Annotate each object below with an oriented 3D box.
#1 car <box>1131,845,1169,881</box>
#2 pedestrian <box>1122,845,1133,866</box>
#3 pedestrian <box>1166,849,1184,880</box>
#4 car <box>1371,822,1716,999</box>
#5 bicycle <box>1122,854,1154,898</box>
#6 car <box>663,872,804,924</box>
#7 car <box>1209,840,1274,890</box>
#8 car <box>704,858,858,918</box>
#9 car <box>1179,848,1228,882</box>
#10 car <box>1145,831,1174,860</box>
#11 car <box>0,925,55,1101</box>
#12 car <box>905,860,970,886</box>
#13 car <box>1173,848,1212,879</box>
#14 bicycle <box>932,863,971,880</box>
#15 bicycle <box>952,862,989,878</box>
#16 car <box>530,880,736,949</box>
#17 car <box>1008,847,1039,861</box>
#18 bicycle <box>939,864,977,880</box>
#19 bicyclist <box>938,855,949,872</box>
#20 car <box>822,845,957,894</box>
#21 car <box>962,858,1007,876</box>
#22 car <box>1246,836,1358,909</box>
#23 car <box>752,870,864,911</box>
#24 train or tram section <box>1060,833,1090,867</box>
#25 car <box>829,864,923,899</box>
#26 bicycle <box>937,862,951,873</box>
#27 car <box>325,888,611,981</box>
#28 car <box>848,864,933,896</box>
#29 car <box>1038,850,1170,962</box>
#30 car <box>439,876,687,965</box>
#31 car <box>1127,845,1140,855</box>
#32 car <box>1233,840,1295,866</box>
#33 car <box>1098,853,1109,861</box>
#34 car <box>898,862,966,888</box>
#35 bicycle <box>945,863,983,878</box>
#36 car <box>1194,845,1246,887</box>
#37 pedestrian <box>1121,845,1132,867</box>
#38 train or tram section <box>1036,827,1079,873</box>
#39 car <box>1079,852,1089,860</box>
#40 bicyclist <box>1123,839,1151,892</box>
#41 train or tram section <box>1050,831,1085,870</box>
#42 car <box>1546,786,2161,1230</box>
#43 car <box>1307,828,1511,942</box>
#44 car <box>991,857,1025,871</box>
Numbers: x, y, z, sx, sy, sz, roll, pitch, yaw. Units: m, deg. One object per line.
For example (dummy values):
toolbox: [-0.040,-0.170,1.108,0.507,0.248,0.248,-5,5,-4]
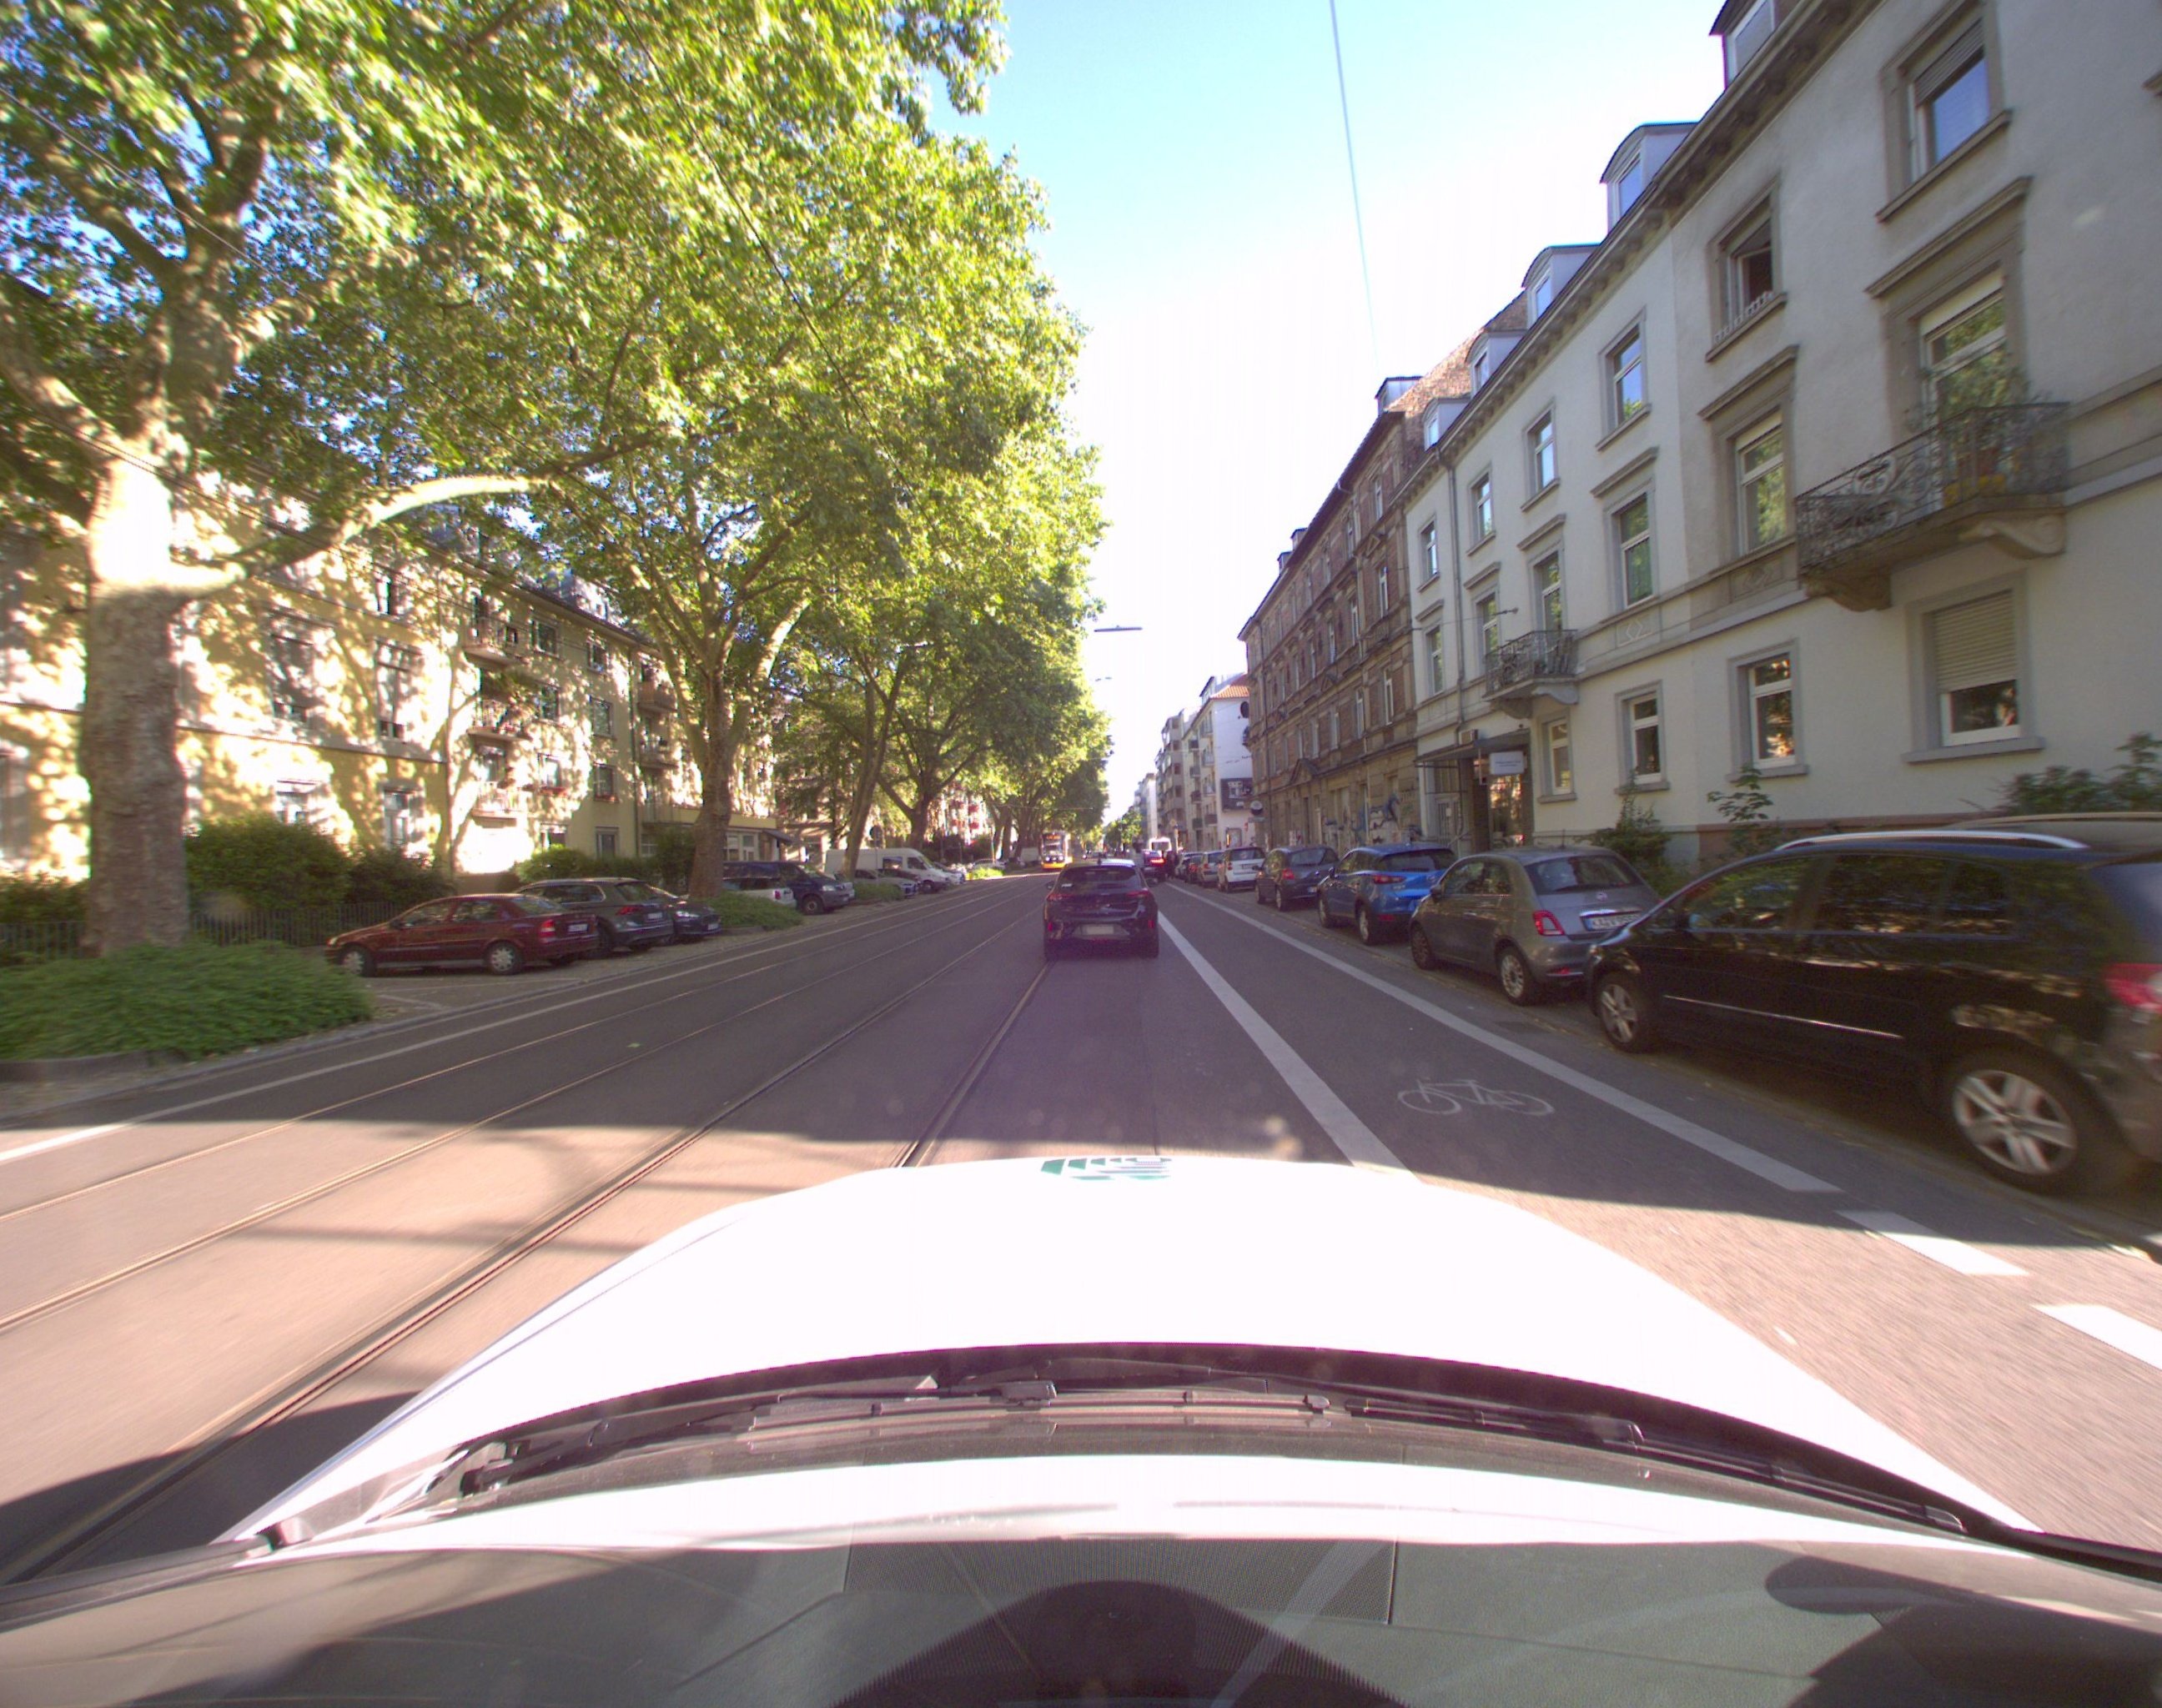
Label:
car: [3.580,0.451,42.781,1.802,1.742,3.936,-1,0,3]
pedestrian: [3.569,0.146,62.050,0.674,1.567,0.771,-3,0,10]
pedestrian: [4.894,0.521,42.421,0.862,1.567,0.769,-3,0,6]
car: [4.994,0.528,9.492,1.793,1.456,3.768,-6,0,1]
bicycle: [1.922,0.712,27.767,0.857,1.407,2.524,-3,0,1]
car: [-11.059,1.381,26.100,3.721,1.498,1.747,-1,0,1]
car: [5.665,0.382,29.005,1.563,1.517,3.039,-6,0,-1]
car: [-10.587,1.184,28.982,4.656,1.924,1.981,-1,0,2]
car: [5.740,0.476,38.644,1.803,1.338,3.936,-6,0,3]
car: [6.855,-0.729,71.657,2.067,2.219,4.937,-6,0,3]
car: [-11.152,1.463,6.389,3.905,1.462,1.806,-3,0,1]
car: [-9.343,1.238,53.203,3.909,1.577,1.676,-1,0,-2]
car: [6.112,0.498,45.018,1.655,1.419,3.936,-6,0,3]
bicycle: [-10.346,1.408,65.227,2.919,1.169,0.995,-3,0,18]
bicycle: [-9.326,1.354,68.649,2.919,1.169,0.995,-3,0,18]
car: [-10.709,1.419,19.672,3.907,1.421,1.818,-1,0,0]
car: [-7.406,-0.006,105.542,3.909,1.790,1.676,-1,0,-2]
bicycle: [-10.037,1.449,66.445,2.919,1.169,0.995,-3,0,18]
bicyclist: [-14.850,1.054,88.058,0.984,1.756,1.154,-3,0,0]
car: [-10.276,0.833,44.122,6.603,2.409,2.459,-1,0,1]
car: [-8.889,1.187,75.140,3.909,1.498,1.676,-1,0,-2]
car: [5.393,0.422,20.350,1.704,1.483,3.765,-6,0,1]
car: [-10.581,1.400,31.724,3.721,1.430,1.638,-1,0,1]
train or tram section: [-0.662,-0.471,99.575,2.724,3.681,12.725,-4,0,3]
car: [-9.634,1.275,38.418,3.904,1.498,1.678,-1,0,2]
bicycle: [-14.820,1.458,88.074,0.984,1.169,2.952,-3,0,0]
car: [-11.109,1.430,14.946,3.905,1.442,1.749,-1,0,1]
car: [-9.690,1.322,41.529,3.909,1.498,1.676,-1,0,-2]
car: [0.363,0.721,13.115,1.787,1.441,3.532,-3,1,1]
car: [-10.801,1.351,17.188,3.980,1.627,1.880,-1,0,1]
car: [7.884,-0.628,121.881,1.803,1.338,3.936,-6,0,3]
car: [14.407,-0.081,64.268,4.363,1.798,1.876,-3,0,0]
car: [4.210,0.557,152.395,1.803,1.338,3.933,-3,0,1]
car: [-9.245,1.299,50.736,3.909,1.498,1.676,-1,0,-2]
bicycle: [-9.733,1.379,67.588,2.919,1.169,0.995,-3,0,18]
car: [5.740,0.459,34.060,1.697,1.456,3.702,-6,0,5]
pedestrian: [3.423,0.153,61.238,0.674,1.567,0.771,-3,0,10]
train or tram section: [-1.934,-0.351,74.170,2.724,3.681,12.725,-4,0,3]
car: [0.611,0.381,156.317,1.802,1.338,3.936,-3,0,3]
bicyclist: [1.901,0.392,27.802,0.845,1.740,1.162,-3,0,0]
train or tram section: [-1.315,-0.389,86.853,2.724,3.681,12.725,-4,0,3]
car: [4.936,0.530,4.924,1.874,1.585,3.932,-6,0,0]
car: [5.295,0.448,13.785,1.872,1.456,4.029,-6,0,3]
car: [-8.588,1.159,96.278,3.909,1.498,1.676,-1,0,-2]
